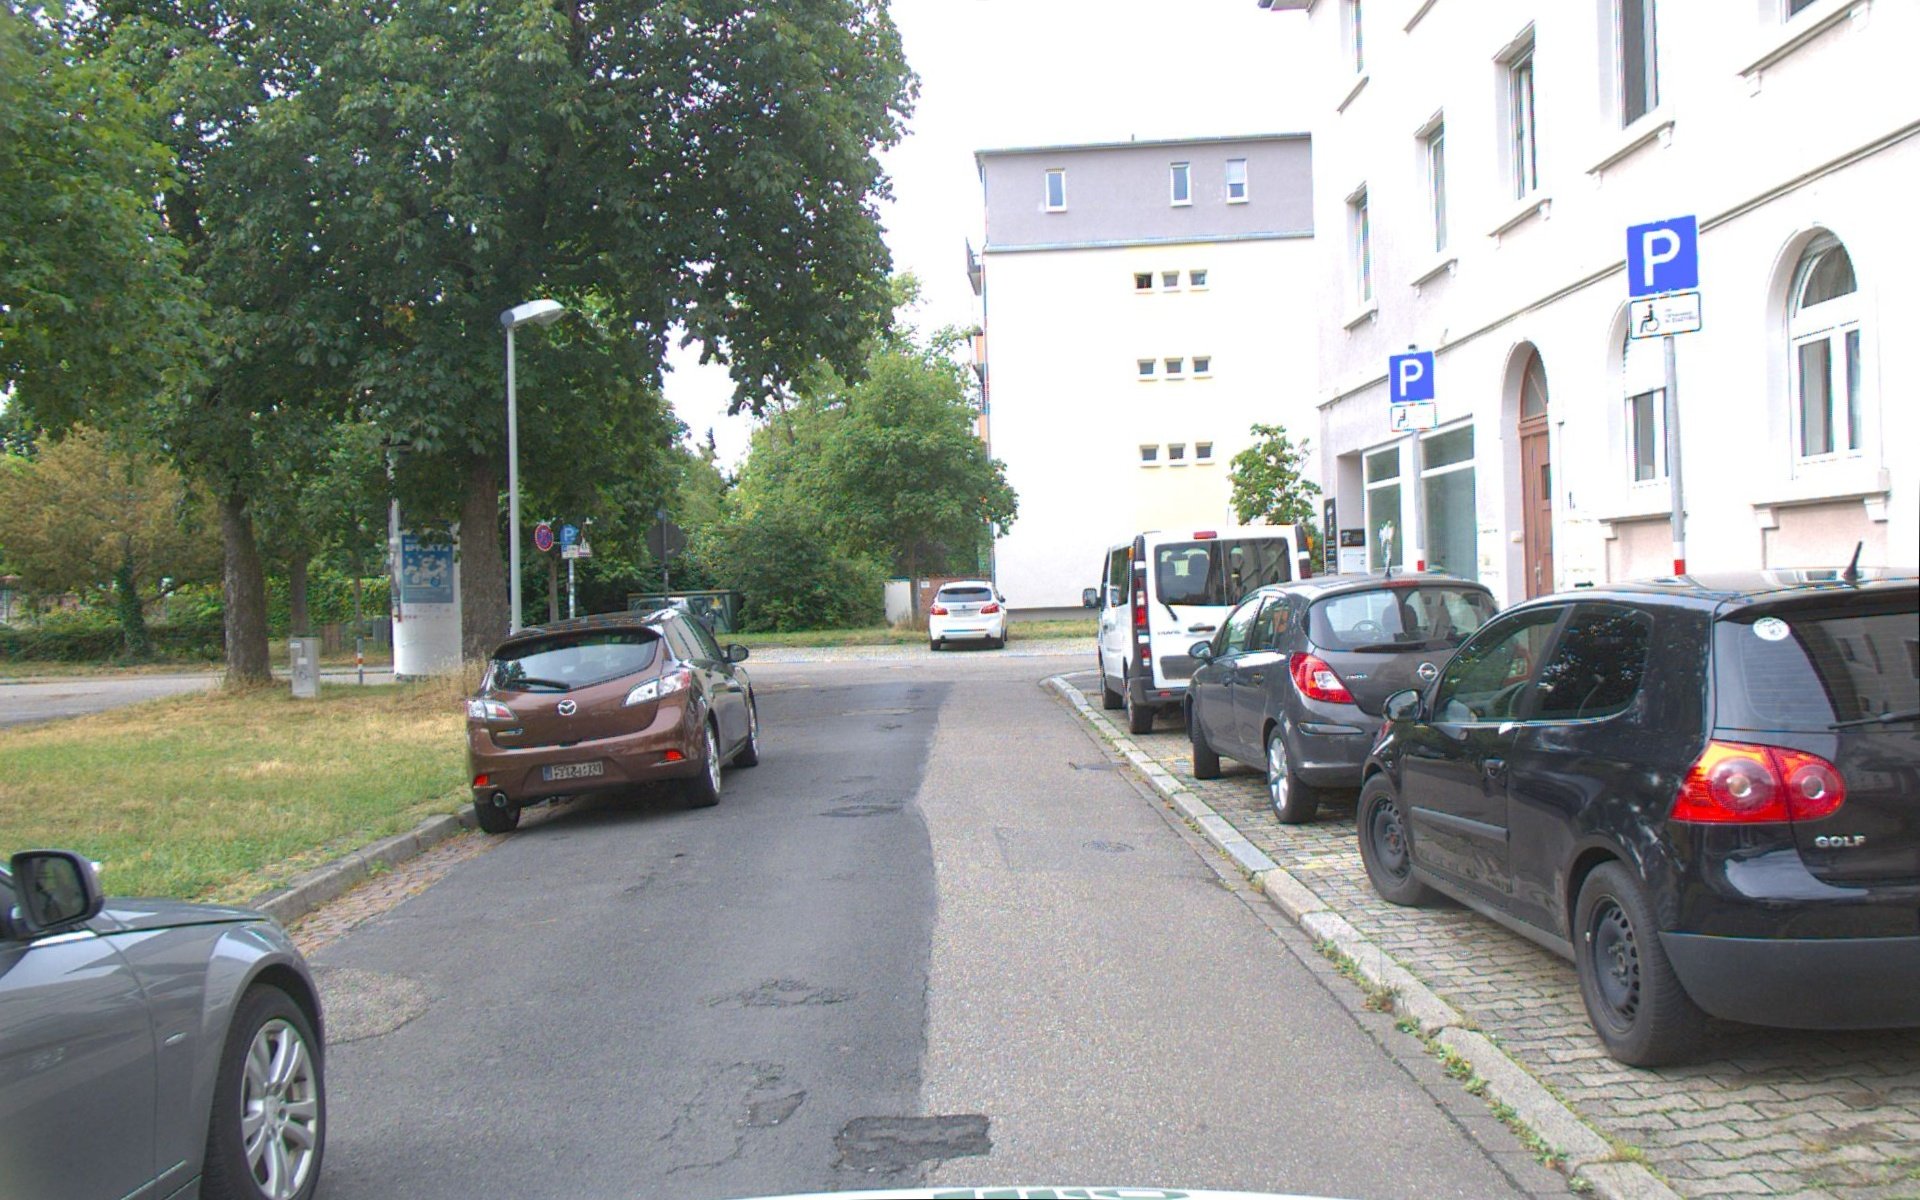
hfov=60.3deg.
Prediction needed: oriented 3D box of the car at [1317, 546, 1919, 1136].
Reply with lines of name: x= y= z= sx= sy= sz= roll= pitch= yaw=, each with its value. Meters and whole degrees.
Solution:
car: x=2.821 y=0.589 z=6.645 sx=1.654 sy=1.479 sz=4.544 roll=-4 pitch=1 yaw=-1

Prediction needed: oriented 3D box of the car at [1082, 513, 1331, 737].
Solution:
car: x=2.523 y=0.203 z=18.166 sx=1.840 sy=2.030 sz=5.012 roll=-3 pitch=1 yaw=-1

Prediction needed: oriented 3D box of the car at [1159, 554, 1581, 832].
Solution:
car: x=2.608 y=0.516 z=11.482 sx=1.655 sy=1.479 sz=3.898 roll=-4 pitch=1 yaw=-4

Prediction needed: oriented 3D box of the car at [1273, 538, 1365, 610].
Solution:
car: x=8.577 y=-0.648 z=39.763 sx=1.796 sy=1.593 sz=4.361 roll=-1 pitch=1 yaw=8

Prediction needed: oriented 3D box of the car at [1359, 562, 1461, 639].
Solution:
car: x=10.965 y=-0.039 z=40.527 sx=1.869 sy=1.727 sz=4.072 roll=-1 pitch=1 yaw=8

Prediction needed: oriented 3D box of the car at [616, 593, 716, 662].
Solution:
car: x=-7.217 y=0.643 z=40.988 sx=1.640 sy=1.479 sz=4.560 roll=-2 pitch=1 yaw=0

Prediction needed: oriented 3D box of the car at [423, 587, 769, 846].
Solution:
car: x=-2.601 y=0.740 z=12.825 sx=1.677 sy=1.483 sz=4.162 roll=-6 pitch=1 yaw=-1

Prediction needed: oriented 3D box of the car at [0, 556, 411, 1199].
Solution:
car: x=-2.382 y=0.759 z=2.285 sx=1.677 sy=1.483 sz=4.447 roll=-6 pitch=1 yaw=-1

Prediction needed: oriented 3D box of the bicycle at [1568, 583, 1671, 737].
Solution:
bicycle: x=5.426 y=0.472 z=13.652 sx=0.313 sy=1.203 sz=1.155 roll=-2 pitch=0 yaw=-3

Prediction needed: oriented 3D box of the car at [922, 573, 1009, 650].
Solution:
car: x=0.187 y=0.236 z=40.555 sx=1.839 sy=1.587 sz=4.153 roll=0 pitch=4 yaw=4

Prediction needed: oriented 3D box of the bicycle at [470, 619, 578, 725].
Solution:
bicycle: x=-4.906 y=0.784 z=18.731 sx=0.652 sy=1.085 sz=1.885 roll=-2 pitch=0 yaw=1
